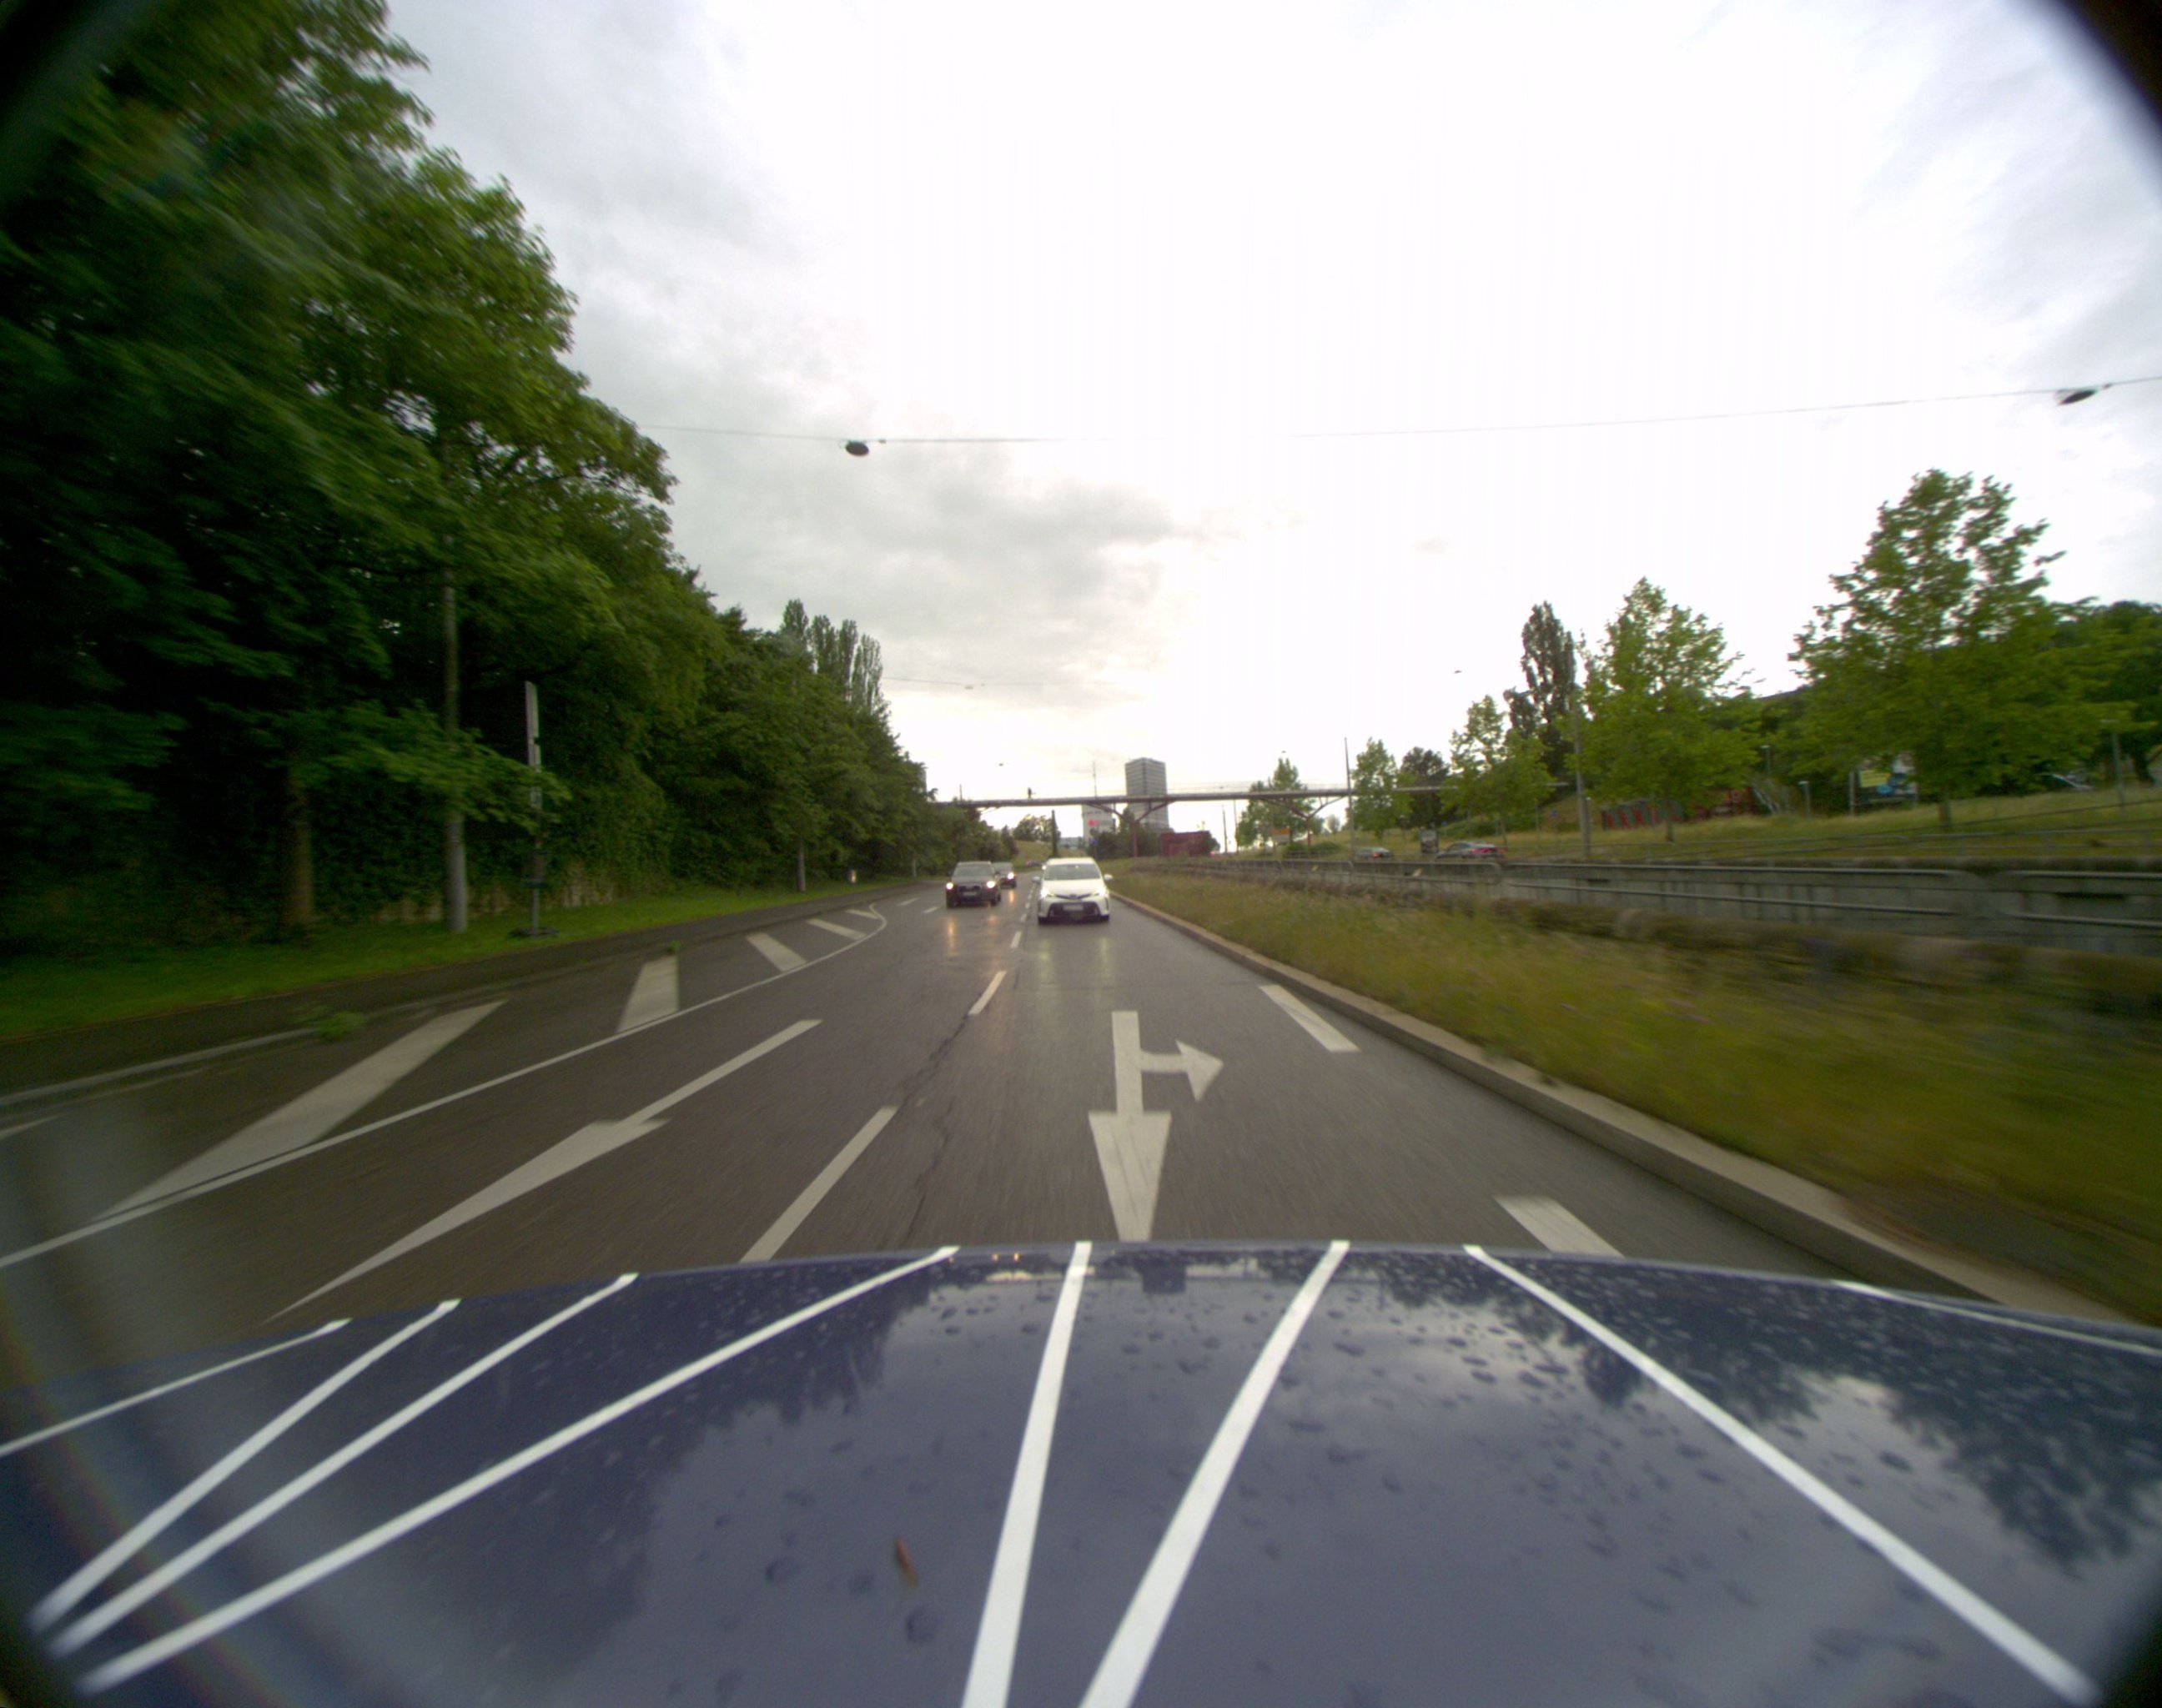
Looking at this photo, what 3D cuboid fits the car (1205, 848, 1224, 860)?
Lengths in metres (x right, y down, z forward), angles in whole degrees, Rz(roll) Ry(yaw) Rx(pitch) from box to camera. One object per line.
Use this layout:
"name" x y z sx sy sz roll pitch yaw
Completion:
"car" 18.711 -0.019 106.581 1.661 1.519 4.435 -4 -1 -2

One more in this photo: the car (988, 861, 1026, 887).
"car" -4.273 1.154 44.662 1.846 1.377 4.000 -3 0 -1

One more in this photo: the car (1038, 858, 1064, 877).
"car" -3.041 1.408 78.553 1.997 1.761 4.002 -3 0 7

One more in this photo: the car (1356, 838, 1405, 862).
"car" 22.127 -0.248 56.218 1.896 1.631 3.972 -3 0 -2

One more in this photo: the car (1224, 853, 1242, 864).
"car" 23.625 0.753 118.292 1.661 1.565 3.789 -6 0 -5

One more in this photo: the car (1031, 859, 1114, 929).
"car" -0.172 0.950 19.937 1.924 1.604 4.376 -1 0 1

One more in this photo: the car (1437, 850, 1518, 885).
"car" 21.447 0.686 41.306 1.896 1.634 4.357 -5 0 -2

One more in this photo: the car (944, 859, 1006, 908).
"car" -3.891 1.036 28.591 1.928 1.591 4.278 -2 0 -4

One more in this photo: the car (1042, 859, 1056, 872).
"car" -4.726 1.658 111.730 1.999 1.761 3.999 -1 0 -2
